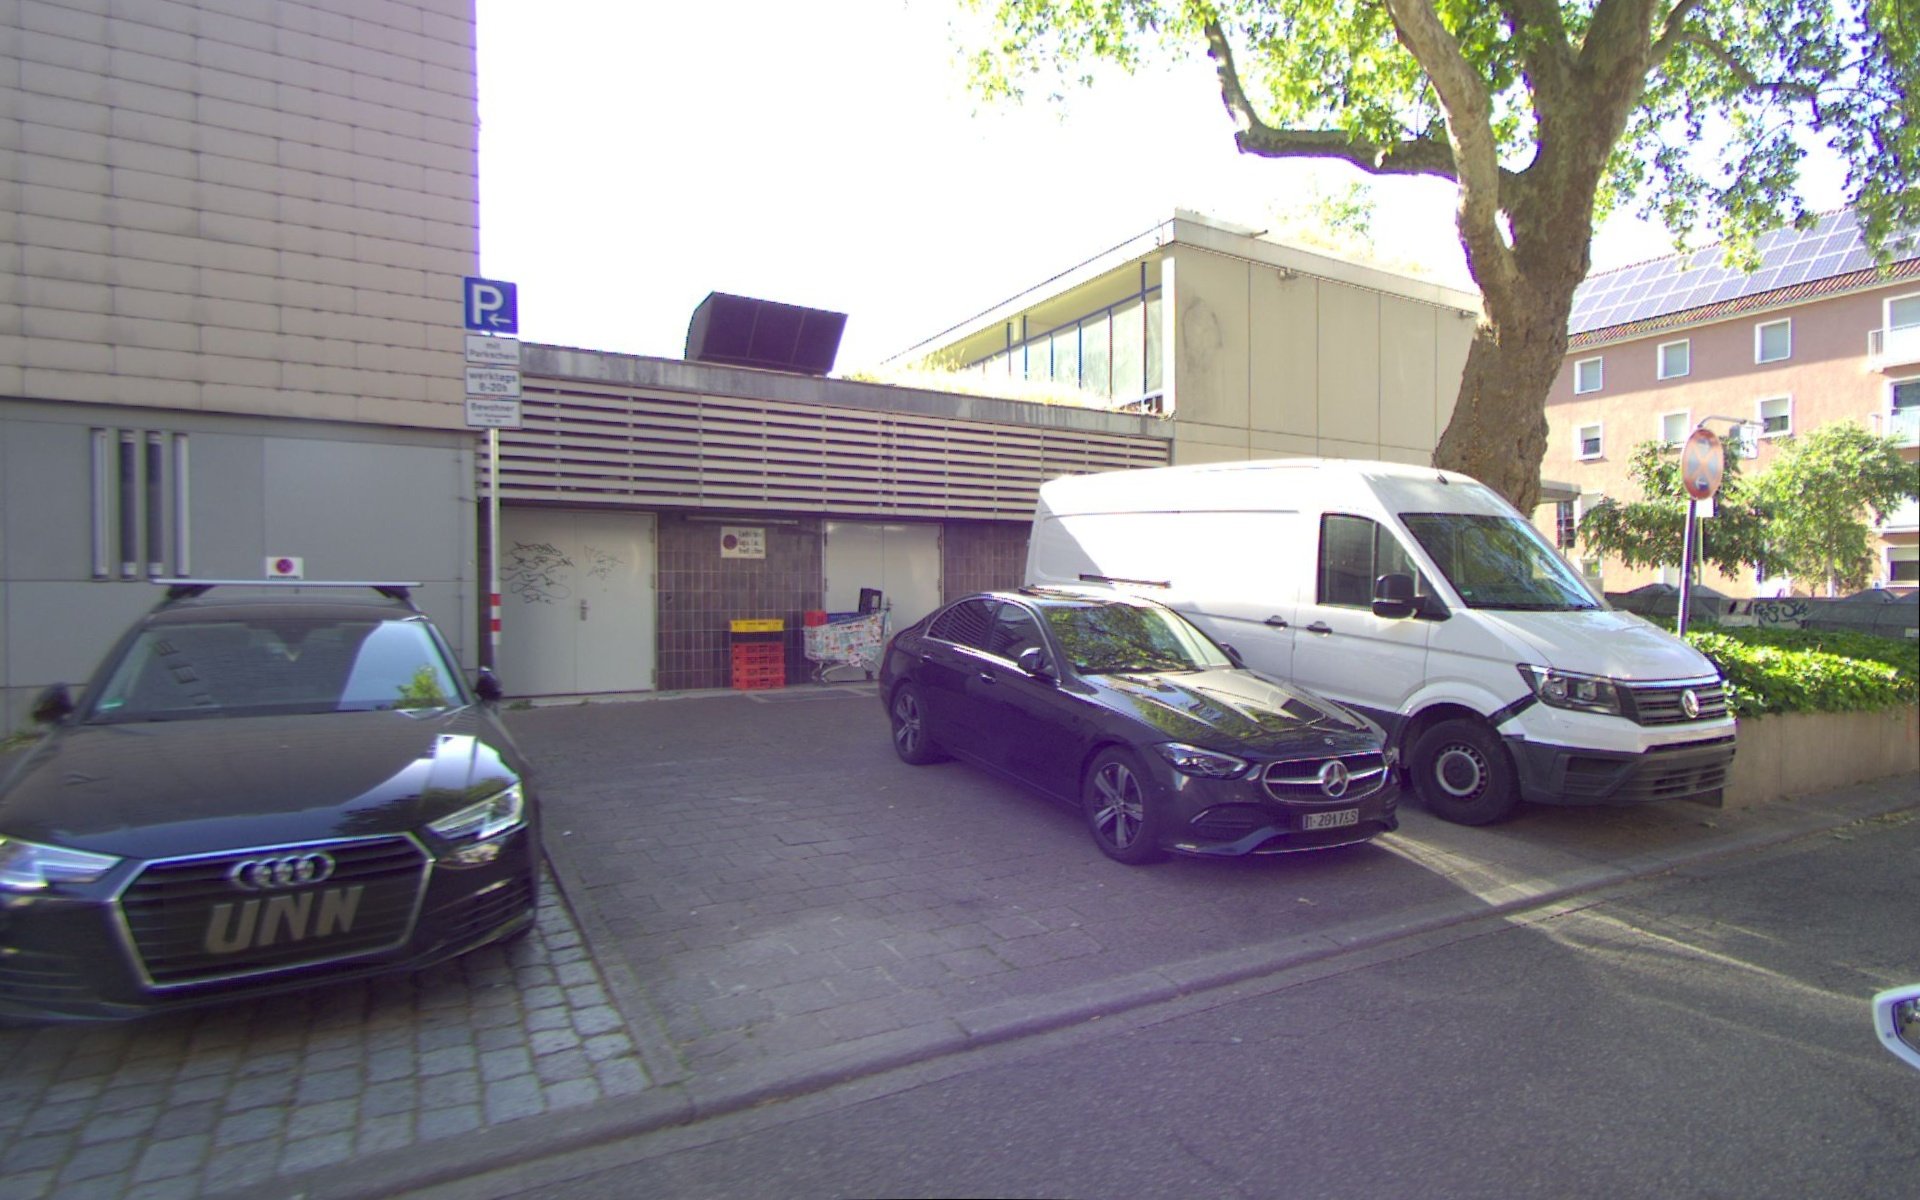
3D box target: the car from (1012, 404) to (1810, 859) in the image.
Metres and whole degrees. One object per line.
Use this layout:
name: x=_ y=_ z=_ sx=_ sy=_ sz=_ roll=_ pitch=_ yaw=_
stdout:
car: x=3.124 y=0.047 z=9.181 sx=2.119 sy=2.589 sz=6.711 roll=1 pitch=2 yaw=-28

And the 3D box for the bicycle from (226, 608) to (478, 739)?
bicycle: x=-5.811 y=0.660 z=9.720 sx=2.014 sy=1.139 sz=0.606 roll=-1 pitch=1 yaw=-31

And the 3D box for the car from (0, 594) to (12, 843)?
car: x=-5.409 y=0.721 z=3.639 sx=1.935 sy=1.444 sz=4.320 roll=1 pitch=1 yaw=-30

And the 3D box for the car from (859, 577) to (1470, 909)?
car: x=1.016 y=0.650 z=7.285 sx=1.905 sy=1.490 sz=4.480 roll=0 pitch=3 yaw=-28

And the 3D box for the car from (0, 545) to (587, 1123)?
car: x=-3.333 y=0.614 z=5.047 sx=1.895 sy=1.631 sz=4.441 roll=1 pitch=1 yaw=-32
